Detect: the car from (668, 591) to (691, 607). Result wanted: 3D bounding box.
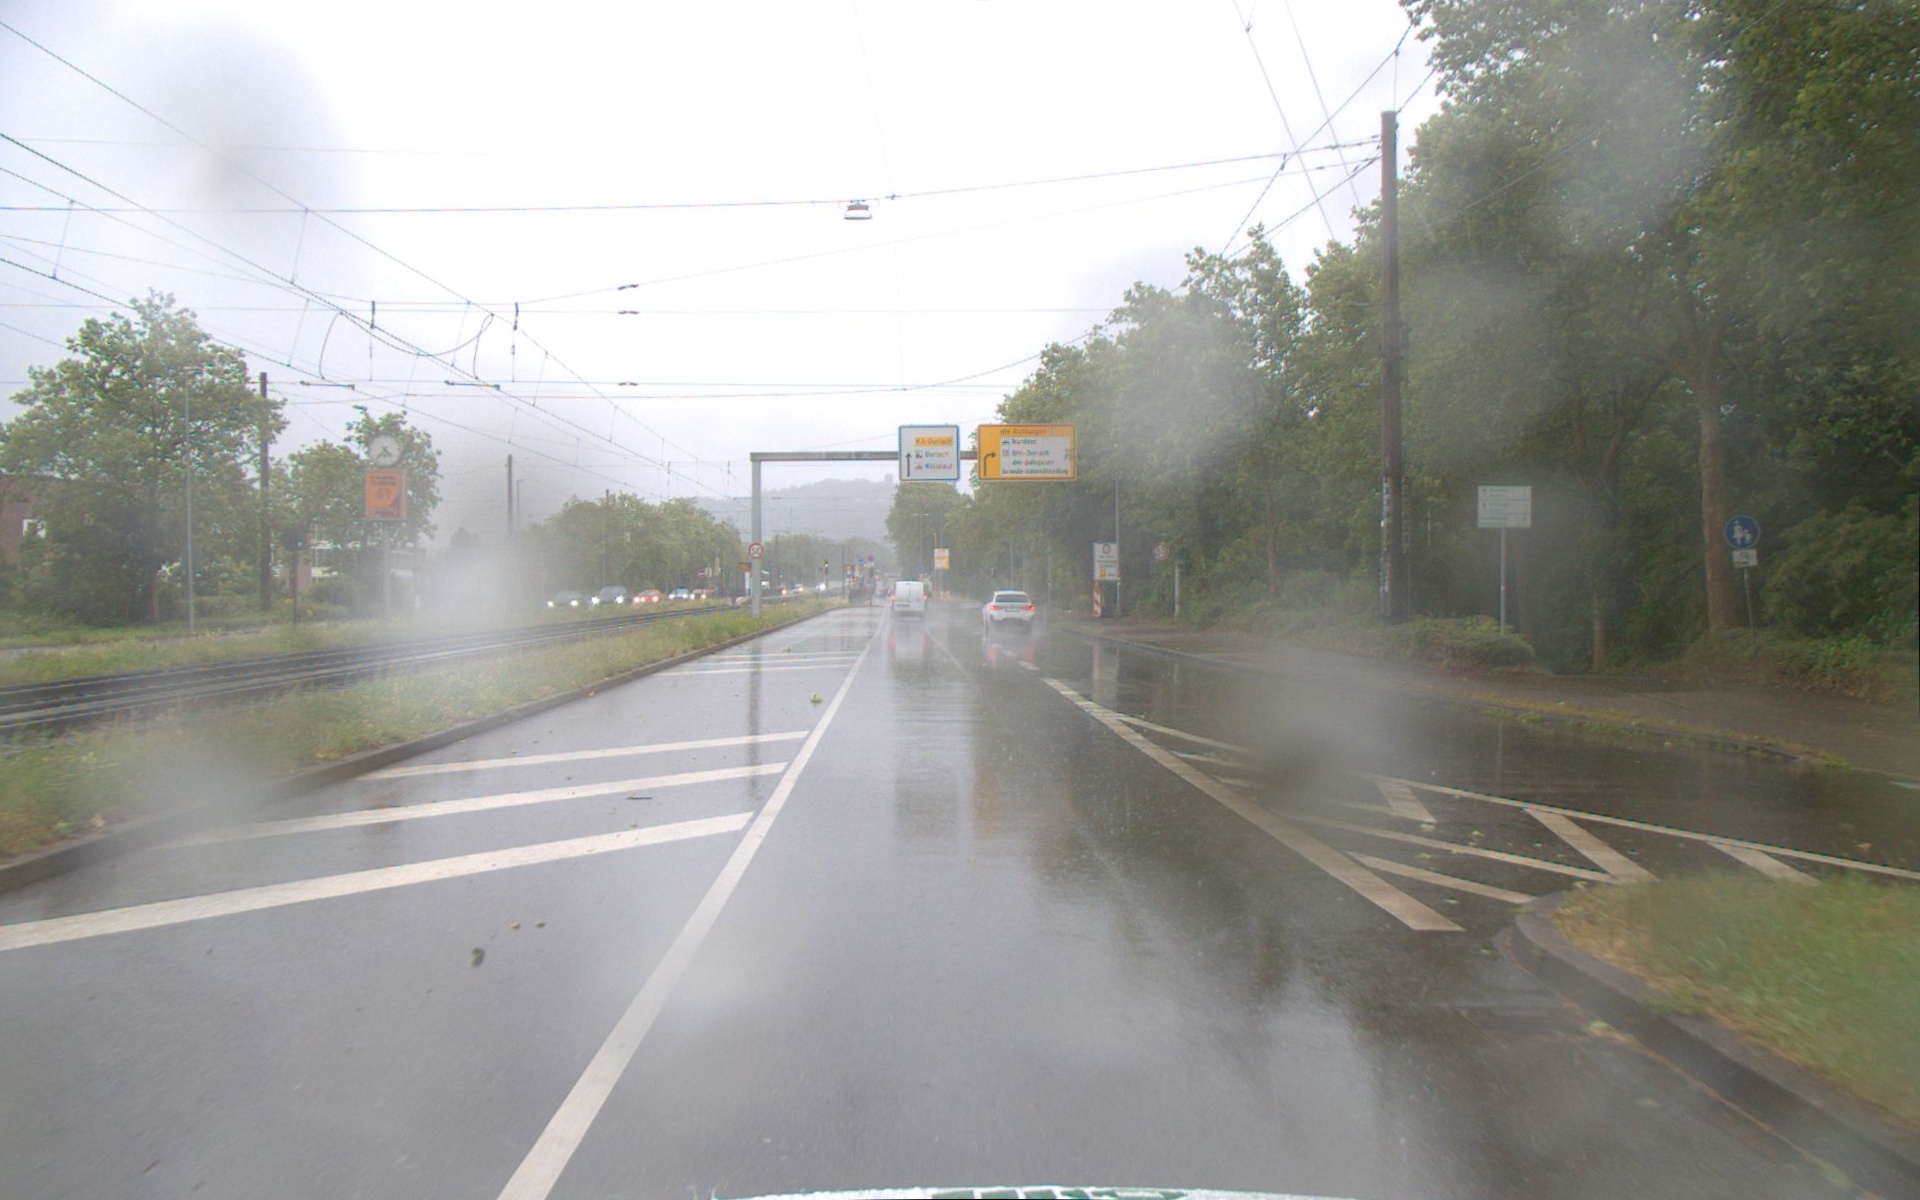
[{"bbox_3d":[-27.089,-0.111,159.877,1.686,1.520,3.998,0,0,-3],"label":"car"}]

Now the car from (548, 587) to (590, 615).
[{"bbox_3d":[-24.365,0.054,103.192,1.905,1.716,4.775,0,0,-5],"label":"car"}]

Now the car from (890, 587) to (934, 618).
[{"bbox_3d":[-2.253,0.105,77.268,2.036,1.445,3.998,0,0,-2],"label":"car"}]

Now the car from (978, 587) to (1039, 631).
[{"bbox_3d":[1.745,0.306,60.733,1.909,1.563,4.464,0,0,-3],"label":"car"}]

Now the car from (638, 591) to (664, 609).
[{"bbox_3d":[-26.325,-0.027,140.881,1.686,1.520,3.998,0,0,-3],"label":"car"}]

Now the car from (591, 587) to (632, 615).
[{"bbox_3d":[-21.289,0.025,101.318,1.906,1.644,4.983,0,0,-6],"label":"car"}]
